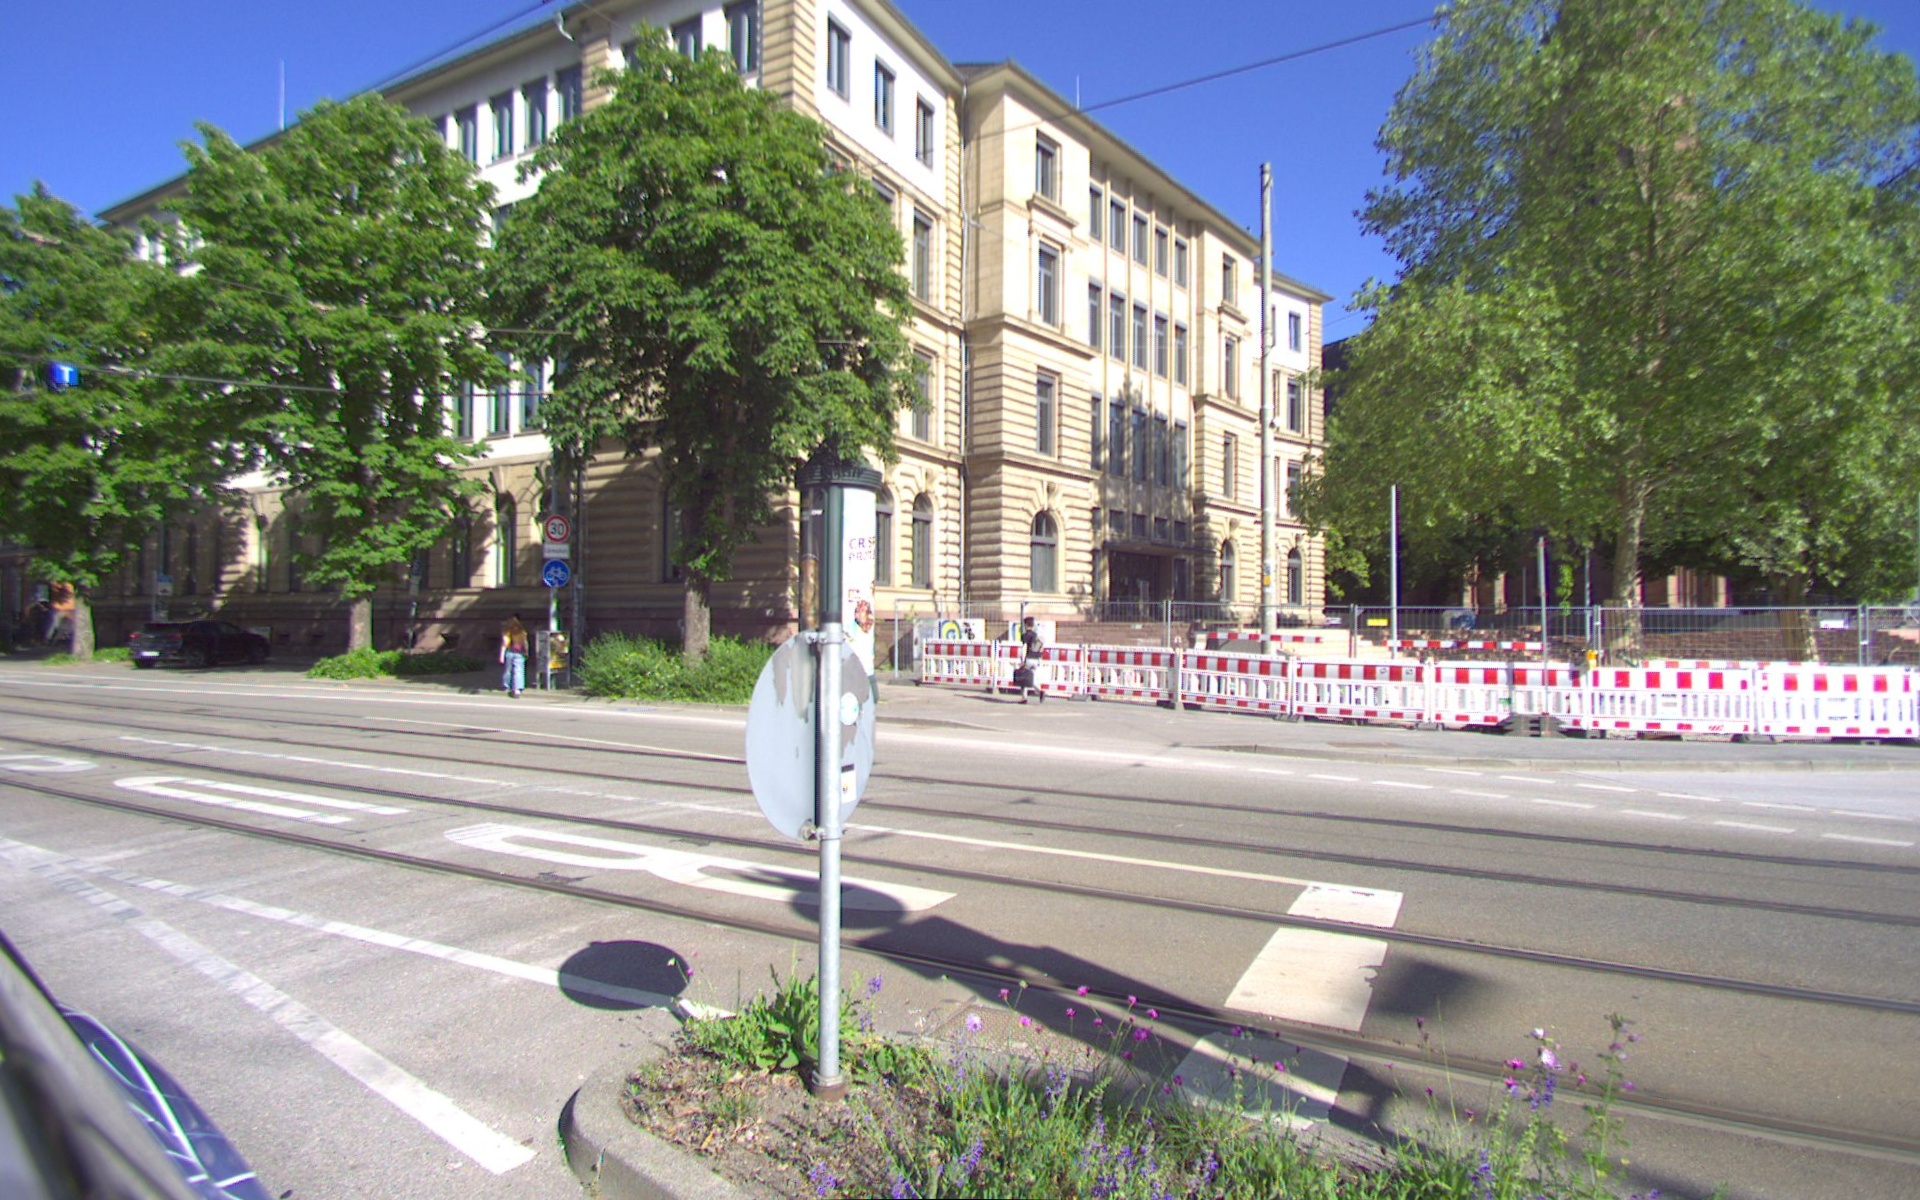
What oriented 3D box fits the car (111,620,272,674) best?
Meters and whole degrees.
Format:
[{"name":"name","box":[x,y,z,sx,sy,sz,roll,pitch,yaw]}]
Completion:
[{"name":"car","box":[-24.399,1.459,32.341,1.895,1.586,4.107,0,-2,2]}]

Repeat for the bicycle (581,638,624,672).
[{"name":"bicycle","box":[-10.033,1.539,28.406,1.356,0.910,0.394,0,0,32]}]

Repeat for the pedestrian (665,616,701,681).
[{"name":"pedestrian","box":[-6.810,1.174,24.888,0.651,1.574,0.573,-1,-2,30]}]

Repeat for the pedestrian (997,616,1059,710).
[{"name":"pedestrian","box":[1.285,1.171,19.112,0.846,1.682,0.720,2,0,40]}]

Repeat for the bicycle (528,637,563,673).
[{"name":"bicycle","box":[-11.807,1.559,28.836,1.098,0.963,0.340,0,0,32]}]

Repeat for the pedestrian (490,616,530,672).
[{"name":"pedestrian","box":[-13.431,1.306,30.212,0.671,1.578,0.849,0,2,35]}]

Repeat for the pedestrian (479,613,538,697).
[{"name":"pedestrian","box":[-9.455,1.166,21.188,1.033,1.682,0.761,-6,-7,40]}]
